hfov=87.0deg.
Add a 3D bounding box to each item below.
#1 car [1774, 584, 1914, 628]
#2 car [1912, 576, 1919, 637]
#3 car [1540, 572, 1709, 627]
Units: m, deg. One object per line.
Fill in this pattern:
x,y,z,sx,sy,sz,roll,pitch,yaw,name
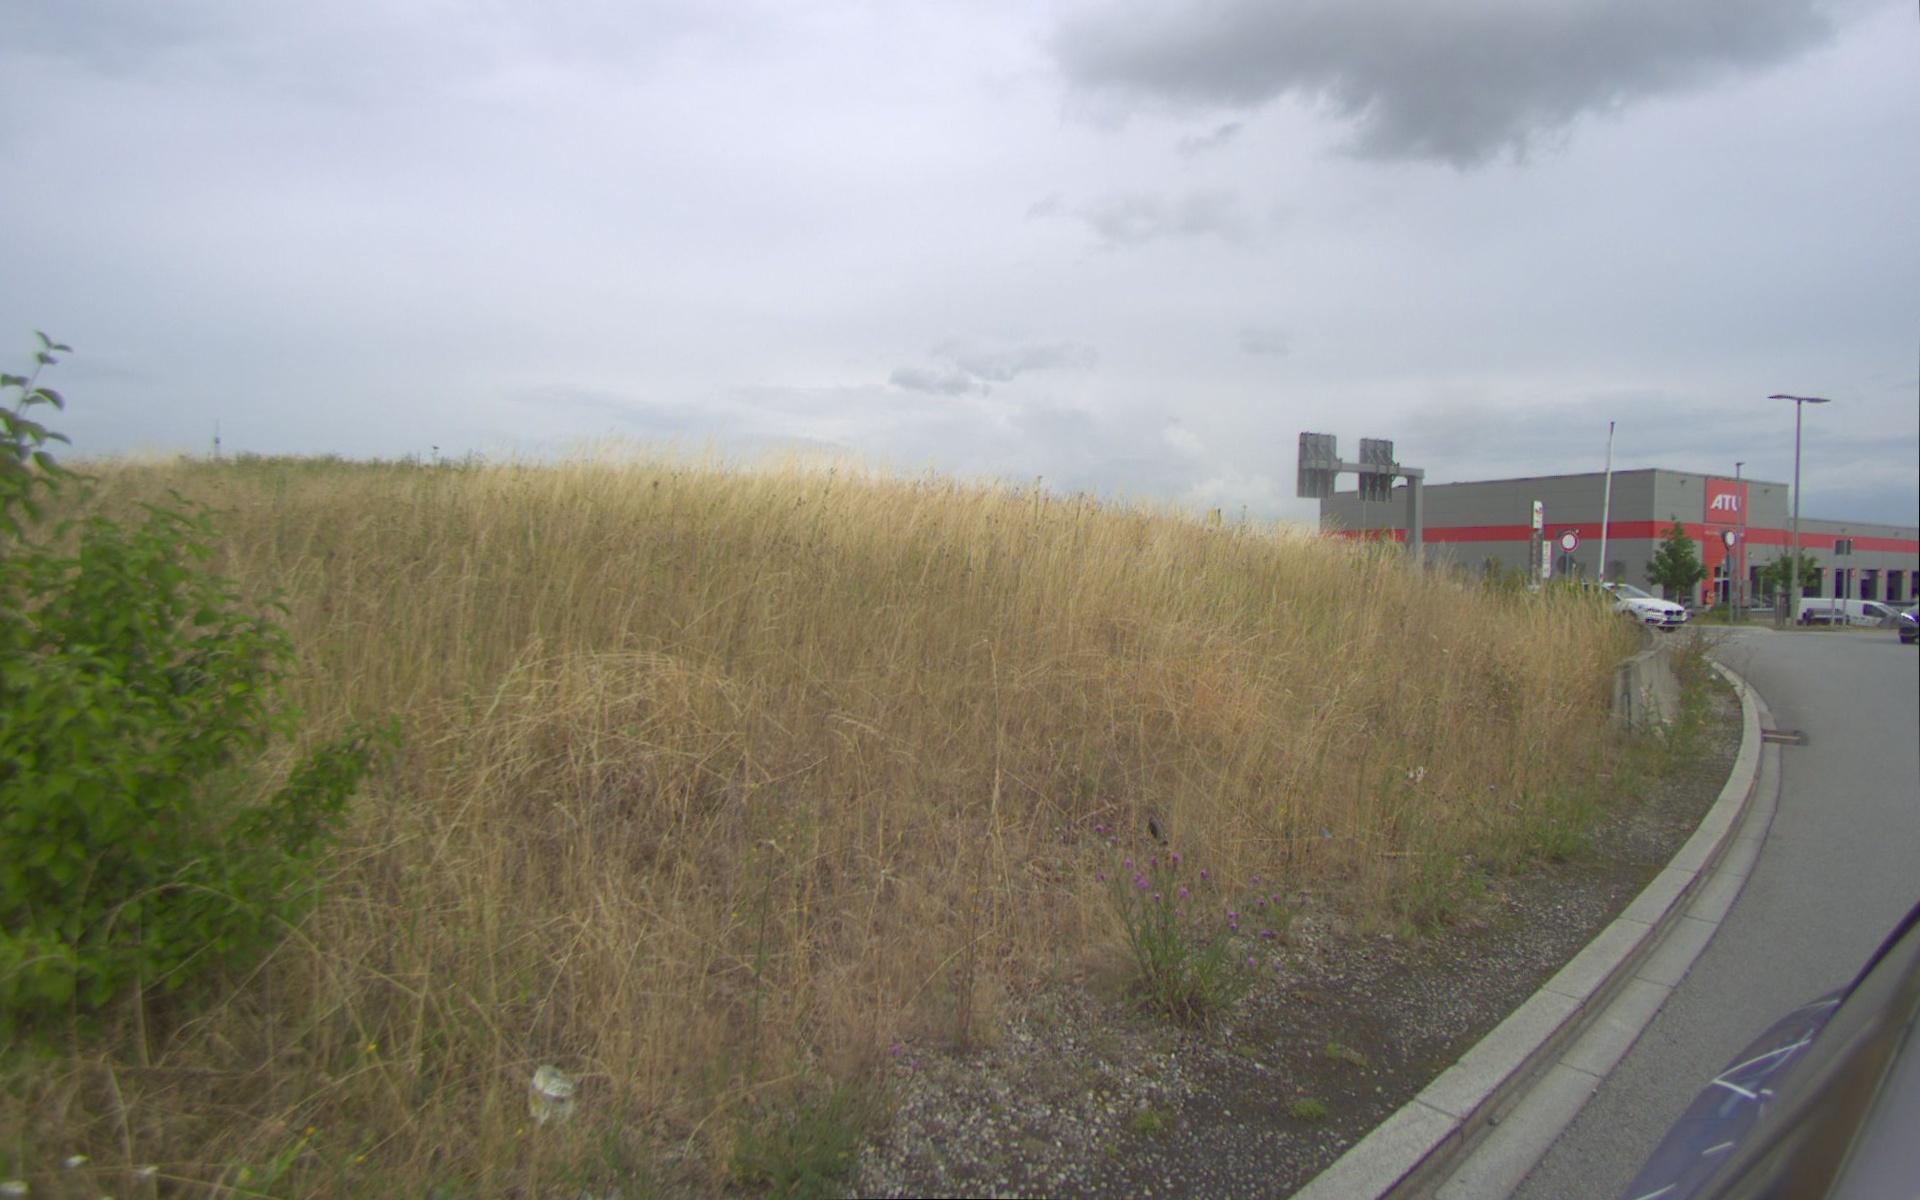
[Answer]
45.555,0.259,52.267,1.961,2.073,5.082,0,1,-32,car
24.878,0.102,24.618,4.014,1.438,1.765,-2,0,-36,car
21.221,-0.075,32.546,1.747,1.649,4.437,0,1,-18,car
